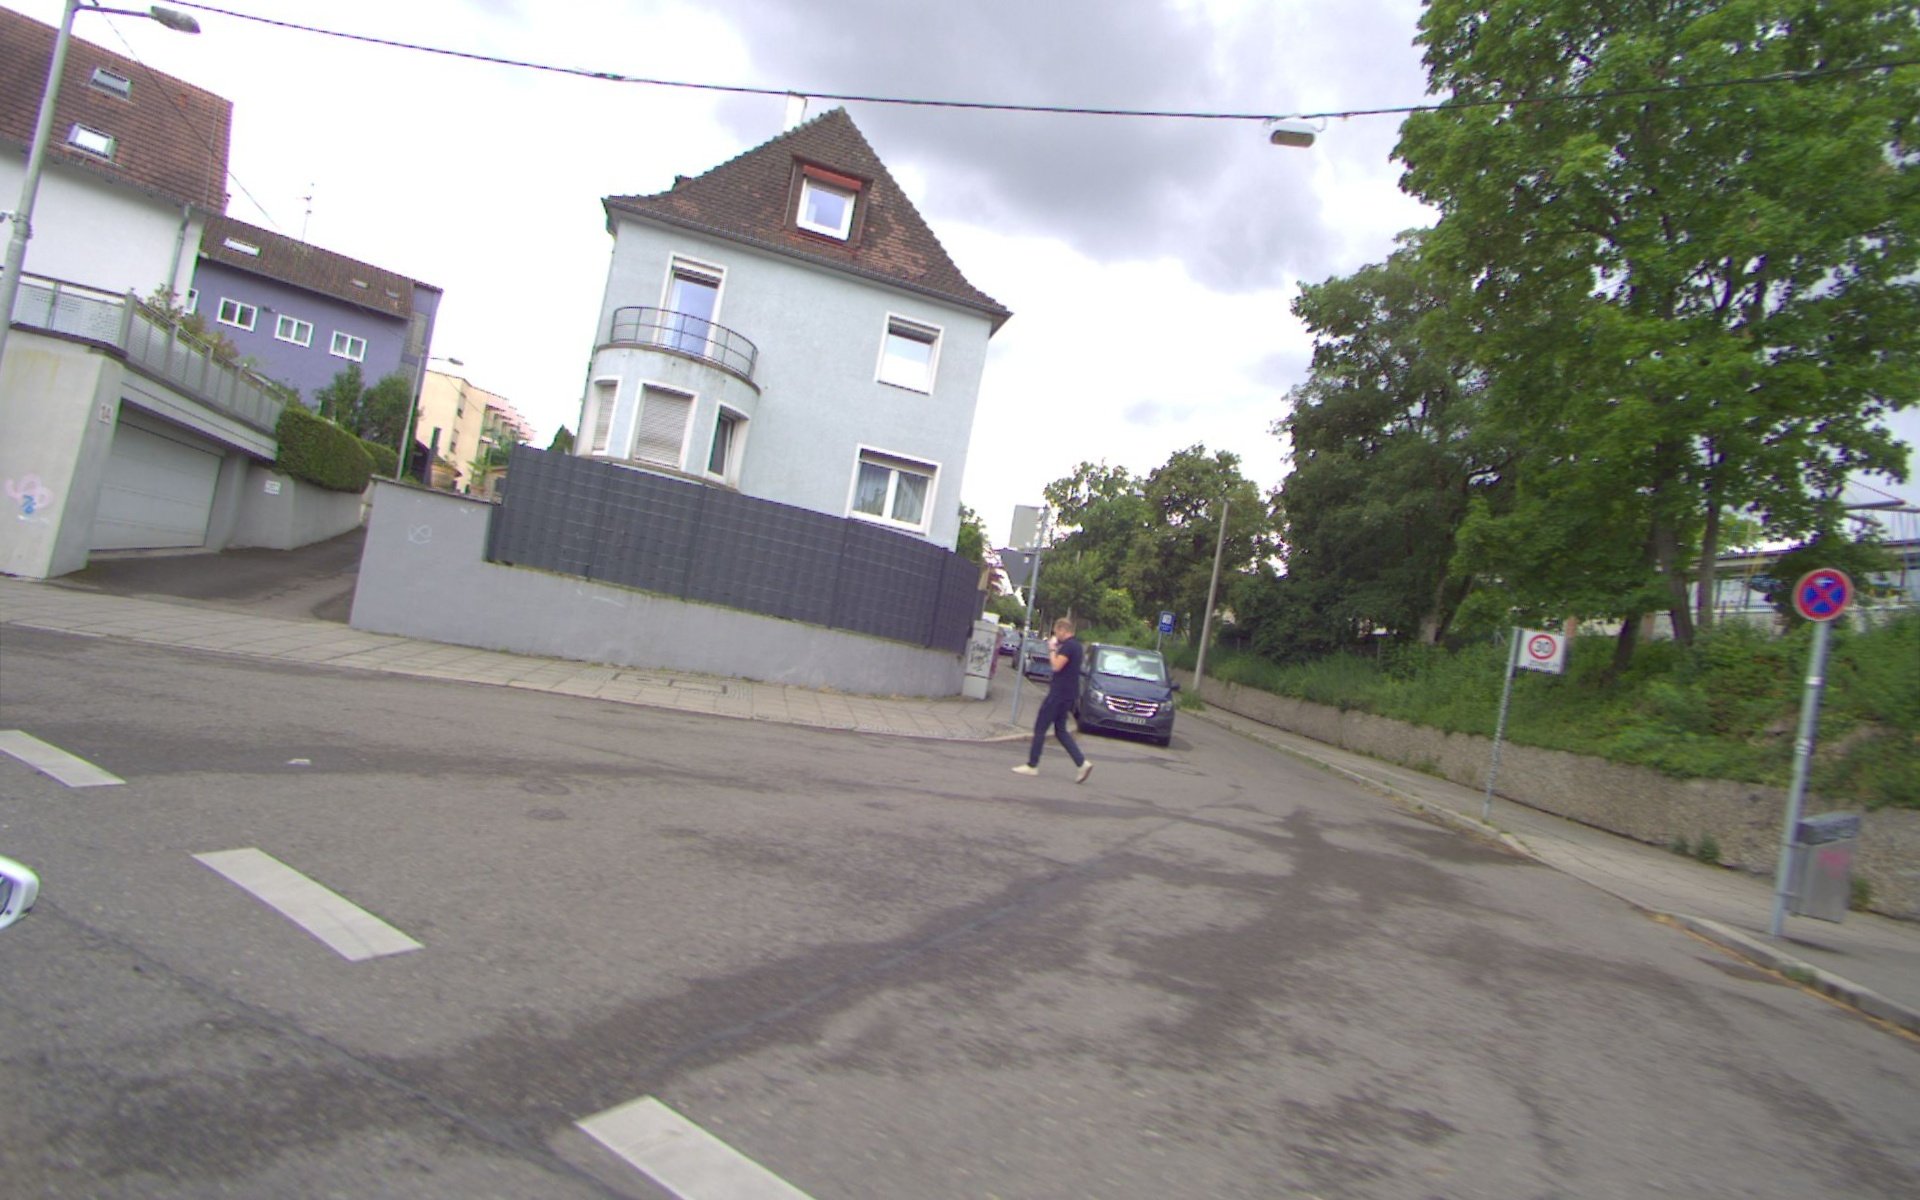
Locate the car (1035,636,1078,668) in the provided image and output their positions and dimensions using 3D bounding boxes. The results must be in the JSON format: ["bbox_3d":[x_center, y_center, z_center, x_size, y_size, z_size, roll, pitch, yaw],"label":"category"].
[{"bbox_3d":[5.605,3.022,58.840,1.963,1.614,4.003,7,-2,0],"label":"car"}]

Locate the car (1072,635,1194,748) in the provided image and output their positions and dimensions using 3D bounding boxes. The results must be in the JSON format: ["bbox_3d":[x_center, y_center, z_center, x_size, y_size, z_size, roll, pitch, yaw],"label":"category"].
[{"bbox_3d":[3.632,1.904,22.041,1.915,1.884,4.846,10,-2,5],"label":"car"}]

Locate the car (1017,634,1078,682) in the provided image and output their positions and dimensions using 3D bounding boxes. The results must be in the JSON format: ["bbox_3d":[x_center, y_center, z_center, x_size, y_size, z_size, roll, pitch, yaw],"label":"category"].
[{"bbox_3d":[3.474,2.328,40.696,1.963,1.614,4.003,7,-2,1],"label":"car"}]

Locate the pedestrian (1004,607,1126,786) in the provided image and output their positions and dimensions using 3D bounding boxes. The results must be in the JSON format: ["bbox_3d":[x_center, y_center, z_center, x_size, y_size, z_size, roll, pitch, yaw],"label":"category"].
[{"bbox_3d":[1.207,1.089,11.527,0.968,1.849,0.574,9,0,32],"label":"pedestrian"}]

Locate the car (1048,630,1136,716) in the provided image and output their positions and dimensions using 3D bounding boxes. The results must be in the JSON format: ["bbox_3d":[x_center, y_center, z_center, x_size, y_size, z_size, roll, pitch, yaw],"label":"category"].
[{"bbox_3d":[3.587,1.994,28.227,1.915,1.884,4.846,10,-2,5],"label":"car"}]
